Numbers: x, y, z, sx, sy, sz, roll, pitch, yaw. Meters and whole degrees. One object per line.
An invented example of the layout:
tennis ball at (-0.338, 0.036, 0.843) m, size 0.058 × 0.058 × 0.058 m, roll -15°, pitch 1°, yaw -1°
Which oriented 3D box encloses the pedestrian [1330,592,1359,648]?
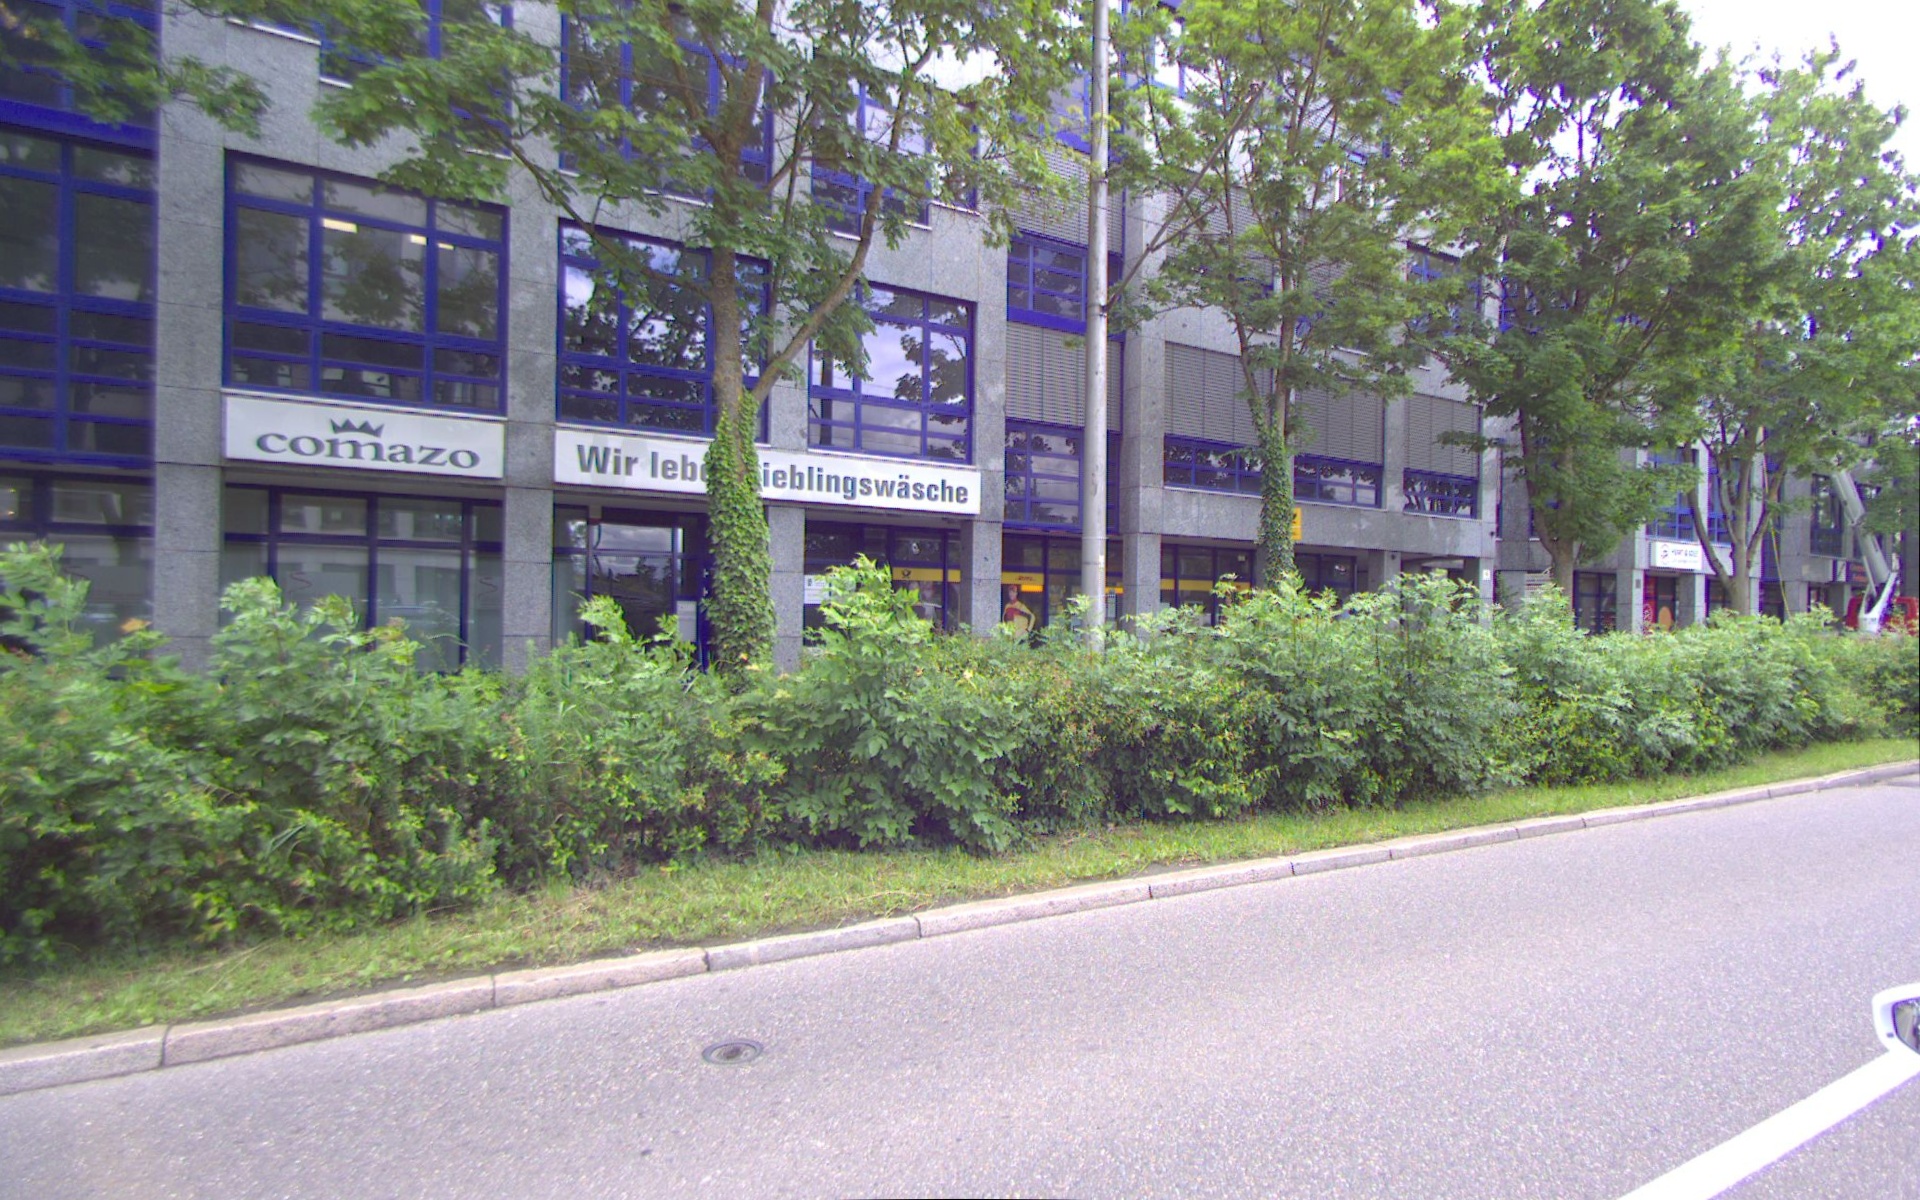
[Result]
pedestrian at (9.516, 0.486, 24.840) m, size 0.552 × 1.352 × 0.362 m, roll 0°, pitch 3°, yaw -35°

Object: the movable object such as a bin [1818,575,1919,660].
movable object such as a bin at (29.750, 0.547, 32.392) m, size 4.079 × 2.565 × 1.895 m, roll 1°, pitch 2°, yaw -31°
